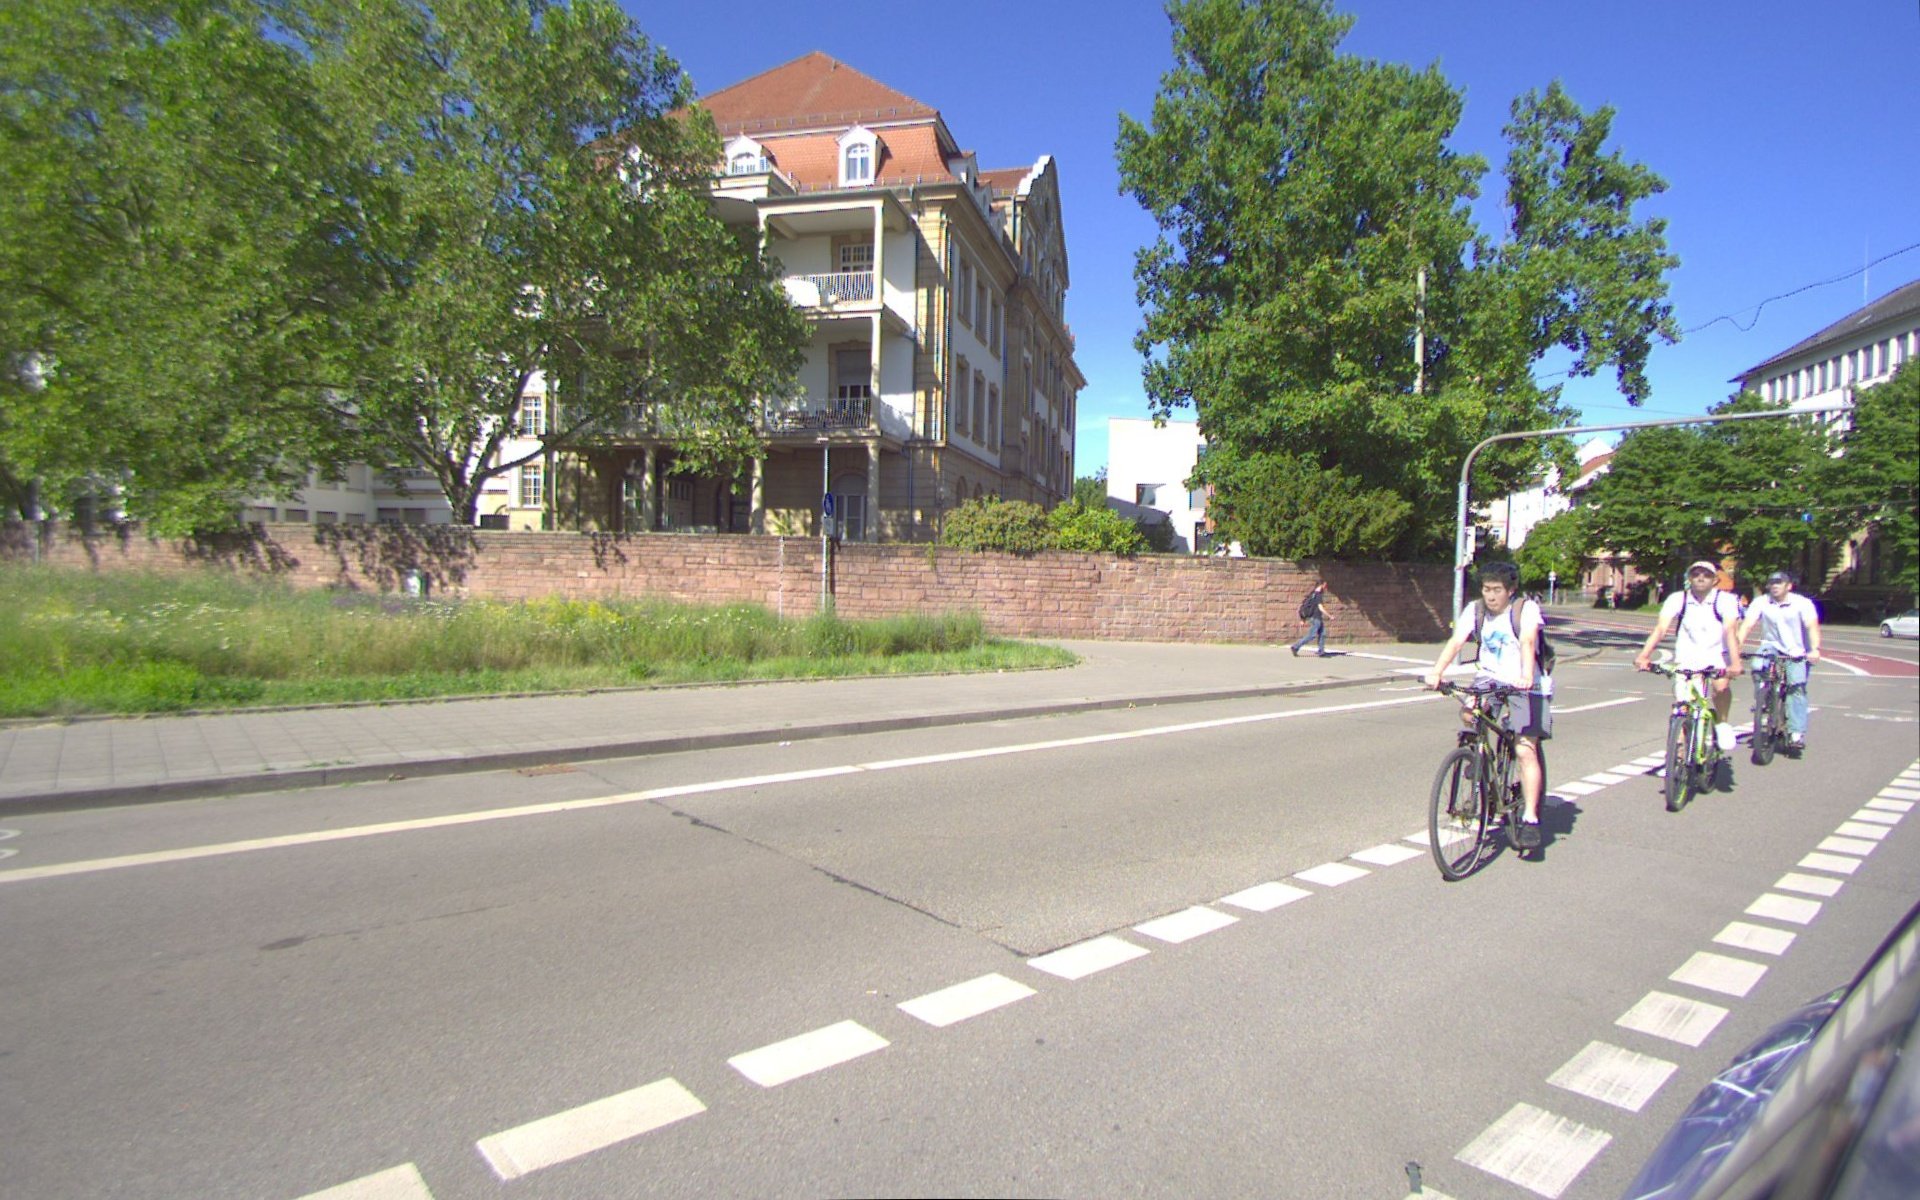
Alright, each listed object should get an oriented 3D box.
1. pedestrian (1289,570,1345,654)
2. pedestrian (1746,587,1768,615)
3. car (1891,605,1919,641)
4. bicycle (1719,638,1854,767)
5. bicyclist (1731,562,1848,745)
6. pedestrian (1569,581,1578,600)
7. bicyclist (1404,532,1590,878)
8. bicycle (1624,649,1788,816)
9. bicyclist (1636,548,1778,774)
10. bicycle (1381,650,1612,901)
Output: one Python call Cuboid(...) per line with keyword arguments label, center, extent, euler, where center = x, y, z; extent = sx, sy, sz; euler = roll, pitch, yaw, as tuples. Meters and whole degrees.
Cuboid(label="pedestrian", center=(8.290, 0.256, 23.541), extent=(0.943, 1.872, 0.731), euler=(2, 2, 1))
Cuboid(label="pedestrian", center=(53.506, 0.029, 67.955), extent=(0.745, 1.835, 0.978), euler=(1, 1, 8))
Cuboid(label="car", center=(41.397, 1.029, 42.292), extent=(1.822, 1.504, 4.149), euler=(2, 1, 13))
Cuboid(label="bicycle", center=(8.180, 0.953, 9.987), extent=(1.871, 1.063, 0.748), euler=(0, 2, -43))
Cuboid(label="bicyclist", center=(8.139, 0.489, 9.933), extent=(0.851, 1.695, 0.741), euler=(0, 1, -43))
Cuboid(label="pedestrian", center=(63.492, -0.987, 104.686), extent=(0.751, 1.837, 0.969), euler=(1, -3, 30))
Cuboid(label="bicyclist", center=(3.105, 0.543, 5.845), extent=(0.924, 1.808, 0.677), euler=(0, 0, -42))
Cuboid(label="bicycle", center=(5.796, 0.954, 7.825), extent=(1.812, 1.064, 0.672), euler=(0, -1, -42))
Cuboid(label="bicyclist", center=(5.755, 0.433, 7.788), extent=(1.063, 1.603, 0.675), euler=(0, -1, -42))
Cuboid(label="bicycle", center=(3.155, 0.915, 5.872), extent=(1.795, 1.152, 0.616), euler=(0, 1, -43))
